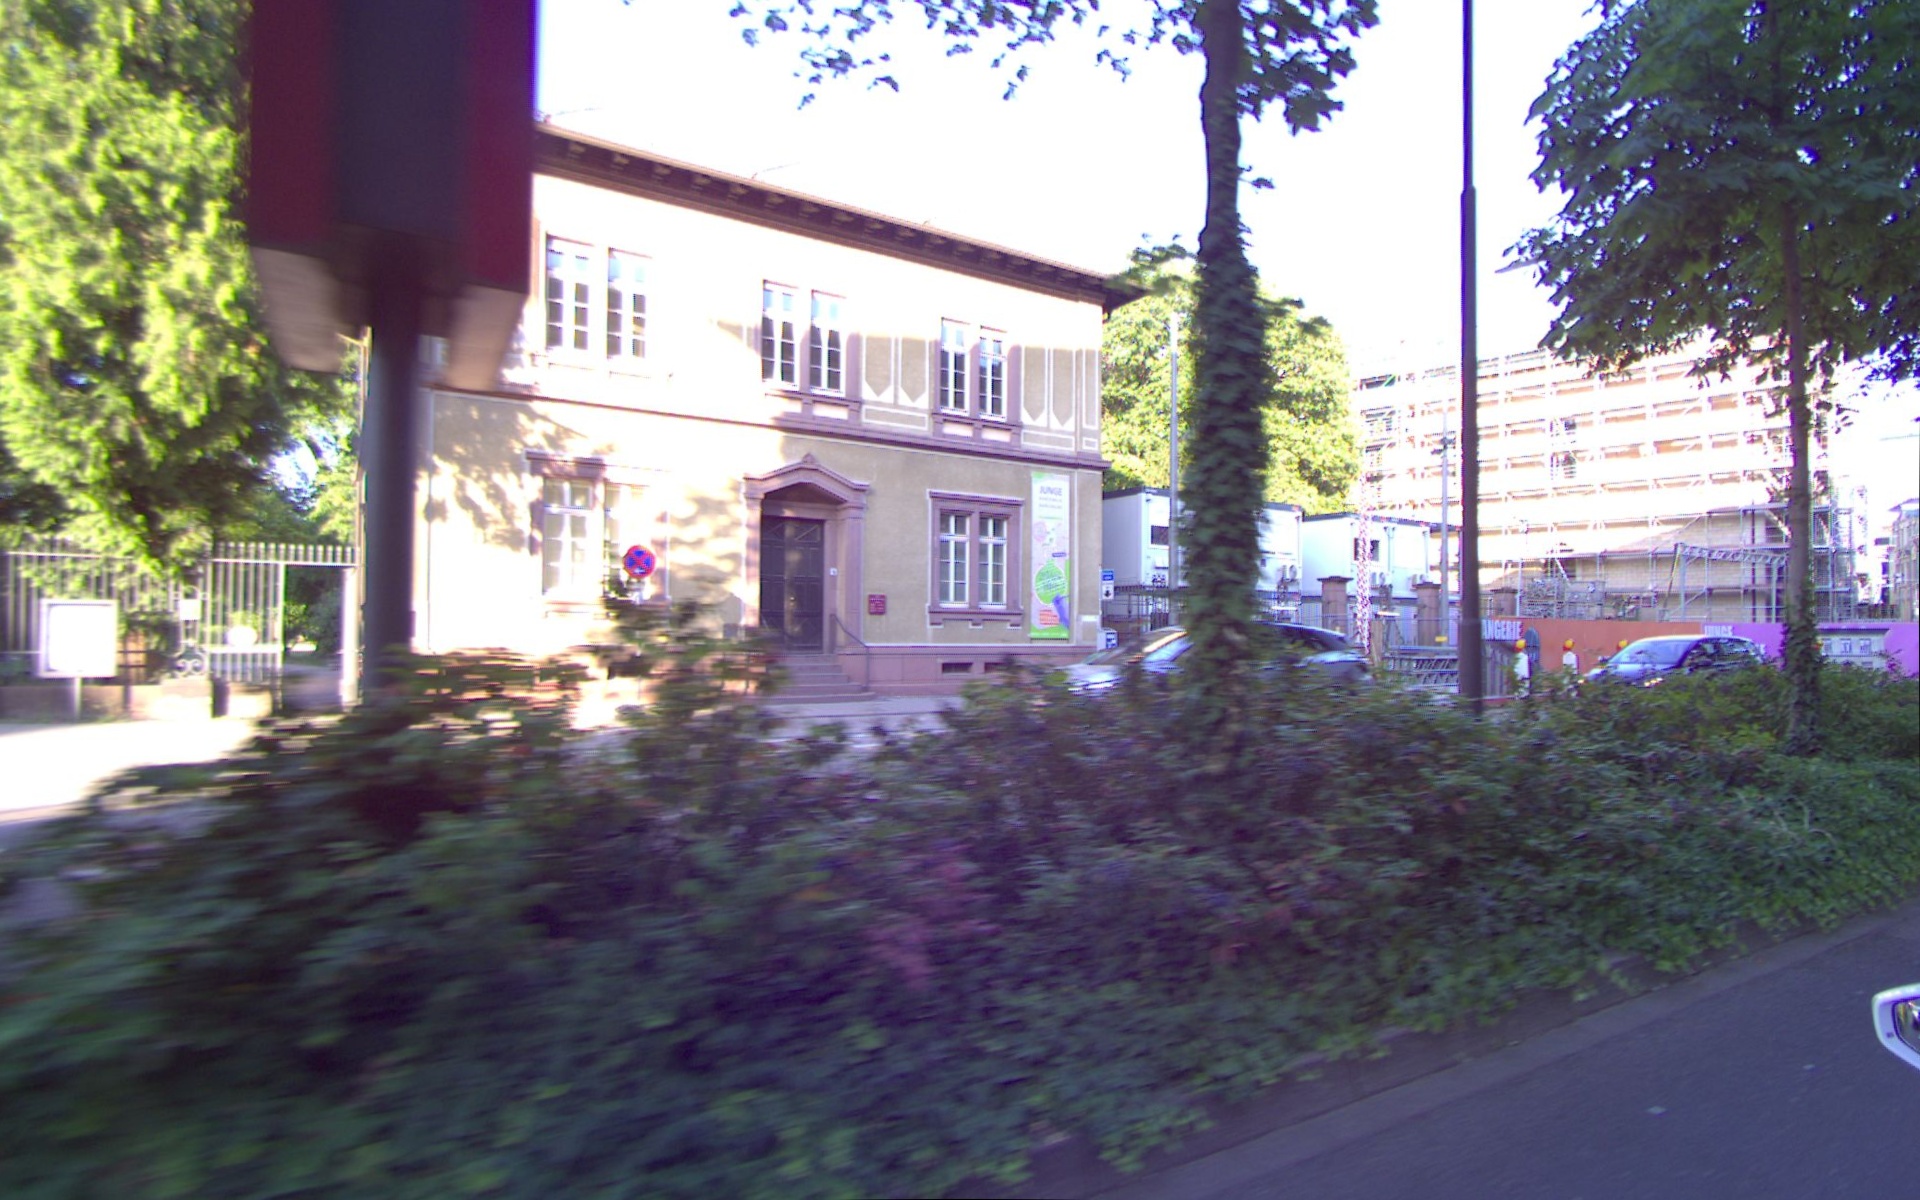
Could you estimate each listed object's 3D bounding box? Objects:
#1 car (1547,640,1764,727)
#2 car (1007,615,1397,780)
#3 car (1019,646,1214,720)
[{"bbox_3d":[13.773,1.589,19.884,4.122,1.571,1.836,1,-3,-28],"label":"car"},{"bbox_3d":[2.971,1.093,12.193,4.497,1.696,1.836,1,-3,-27],"label":"car"},{"bbox_3d":[3.221,1.633,20.418,3.848,1.368,1.669,2,-4,-35],"label":"car"}]
